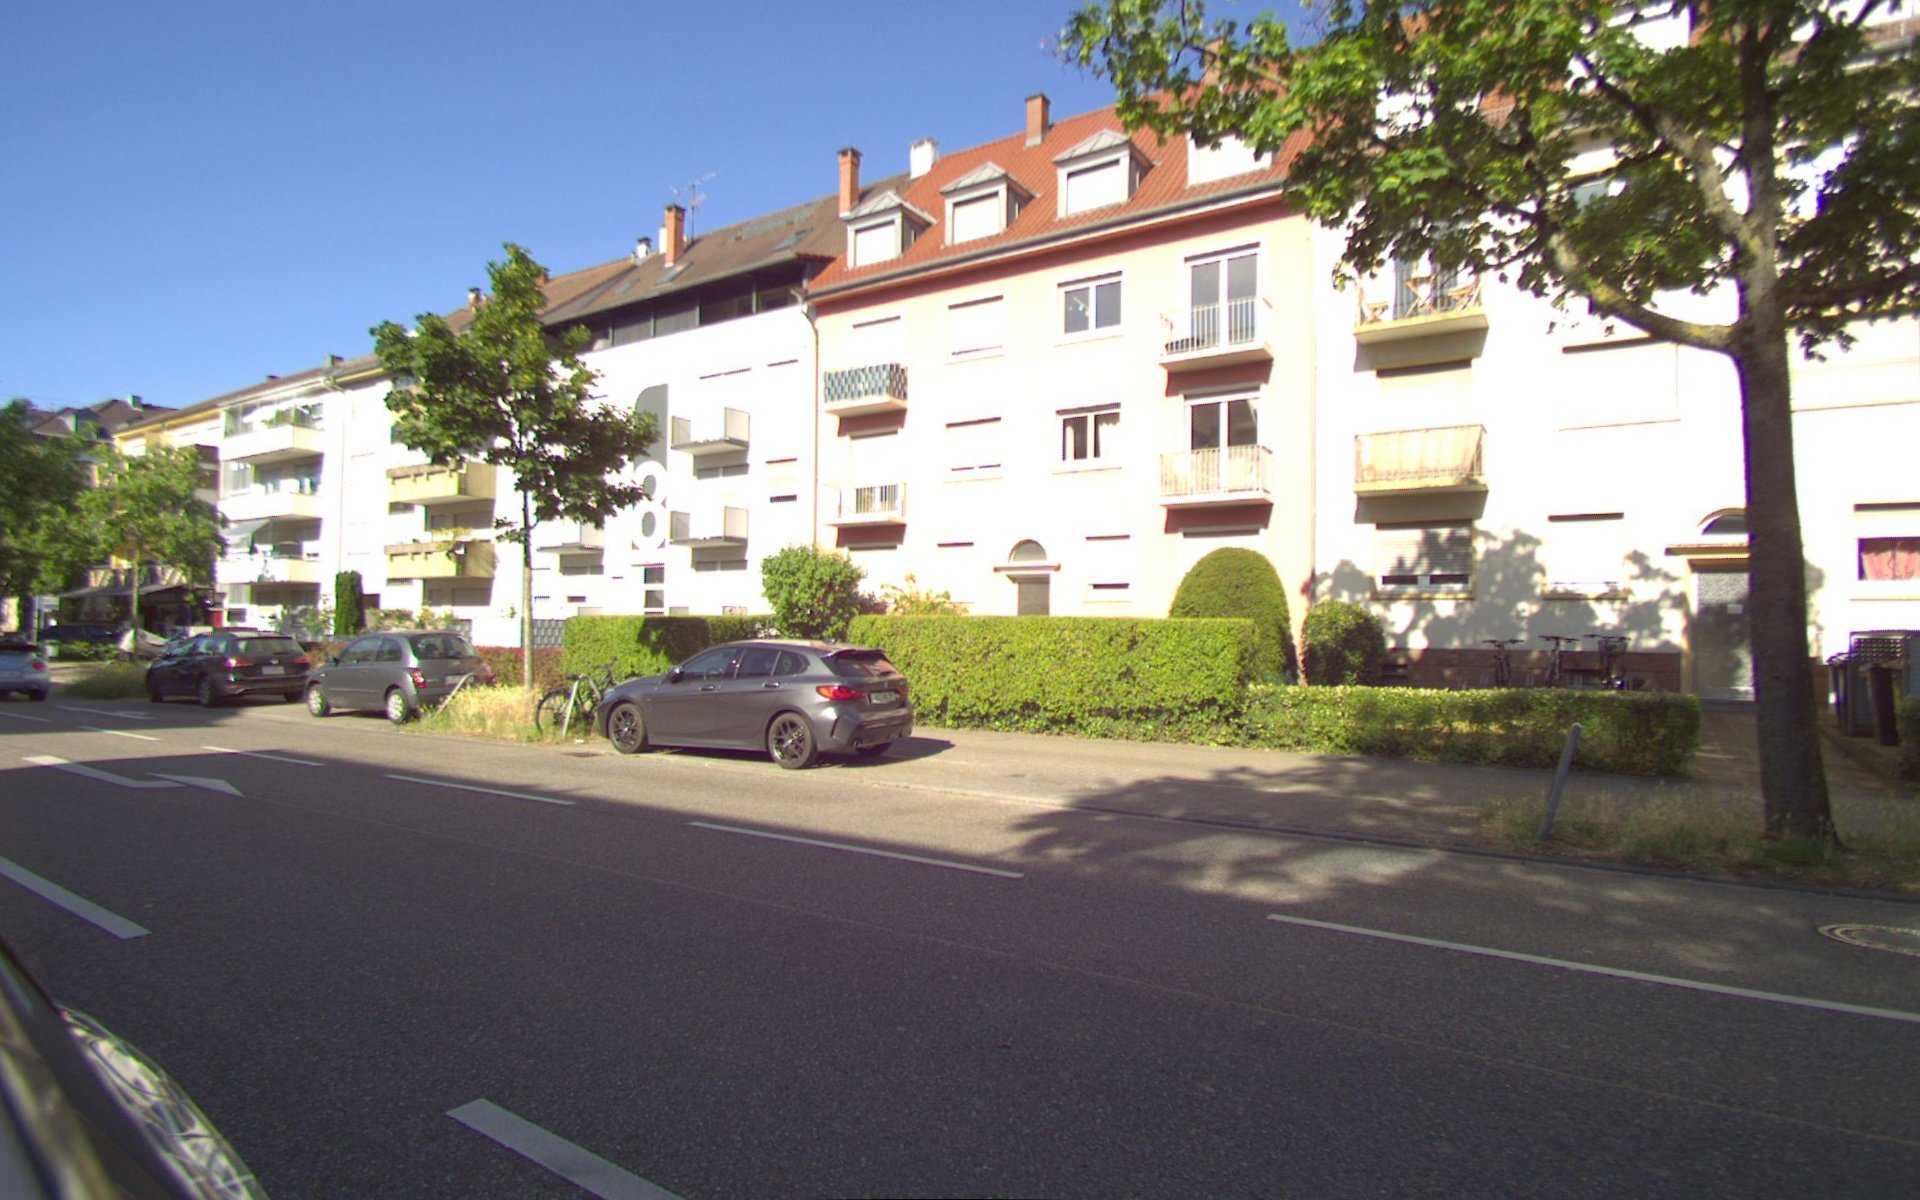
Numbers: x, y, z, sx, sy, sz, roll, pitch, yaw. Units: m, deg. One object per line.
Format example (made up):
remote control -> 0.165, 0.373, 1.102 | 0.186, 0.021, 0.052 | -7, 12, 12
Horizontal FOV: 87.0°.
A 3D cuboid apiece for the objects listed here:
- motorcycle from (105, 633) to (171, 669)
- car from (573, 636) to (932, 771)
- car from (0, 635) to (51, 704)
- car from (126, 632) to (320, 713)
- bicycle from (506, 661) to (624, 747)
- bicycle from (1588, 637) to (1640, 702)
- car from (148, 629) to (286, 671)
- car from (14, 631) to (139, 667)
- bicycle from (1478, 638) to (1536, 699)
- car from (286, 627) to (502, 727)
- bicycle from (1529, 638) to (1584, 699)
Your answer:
motorcycle -> -35.739, 2.190, 44.003 | 0.781, 1.497, 2.127 | -2, -2, 42
car -> -2.645, 1.175, 12.628 | 4.348, 1.419, 1.755 | -1, -2, 30
car -> -21.082, 1.435, 21.404 | 3.924, 1.392, 1.724 | -2, -4, 33
car -> -15.453, 1.452, 21.175 | 4.478, 1.504, 1.771 | -2, -2, 32
bicycle -> -5.606, 1.444, 14.458 | 0.546, 1.143, 1.531 | -2, -3, 32
bicycle -> 10.292, 1.066, 15.900 | 0.571, 0.950, 2.097 | -1, -3, 36
car -> -28.949, 1.922, 39.555 | 1.875, 1.498, 3.956 | -2, -2, 32
car -> -38.674, 2.098, 44.343 | 1.732, 1.472, 3.944 | -2, -2, 42
bicycle -> 9.117, 1.111, 16.831 | 0.571, 0.937, 2.097 | -1, -3, 36
car -> -9.904, 1.283, 17.670 | 3.644, 1.537, 1.663 | -1, -1, 30
bicycle -> 9.711, 1.083, 16.437 | 0.571, 0.936, 2.097 | -1, -3, 36
